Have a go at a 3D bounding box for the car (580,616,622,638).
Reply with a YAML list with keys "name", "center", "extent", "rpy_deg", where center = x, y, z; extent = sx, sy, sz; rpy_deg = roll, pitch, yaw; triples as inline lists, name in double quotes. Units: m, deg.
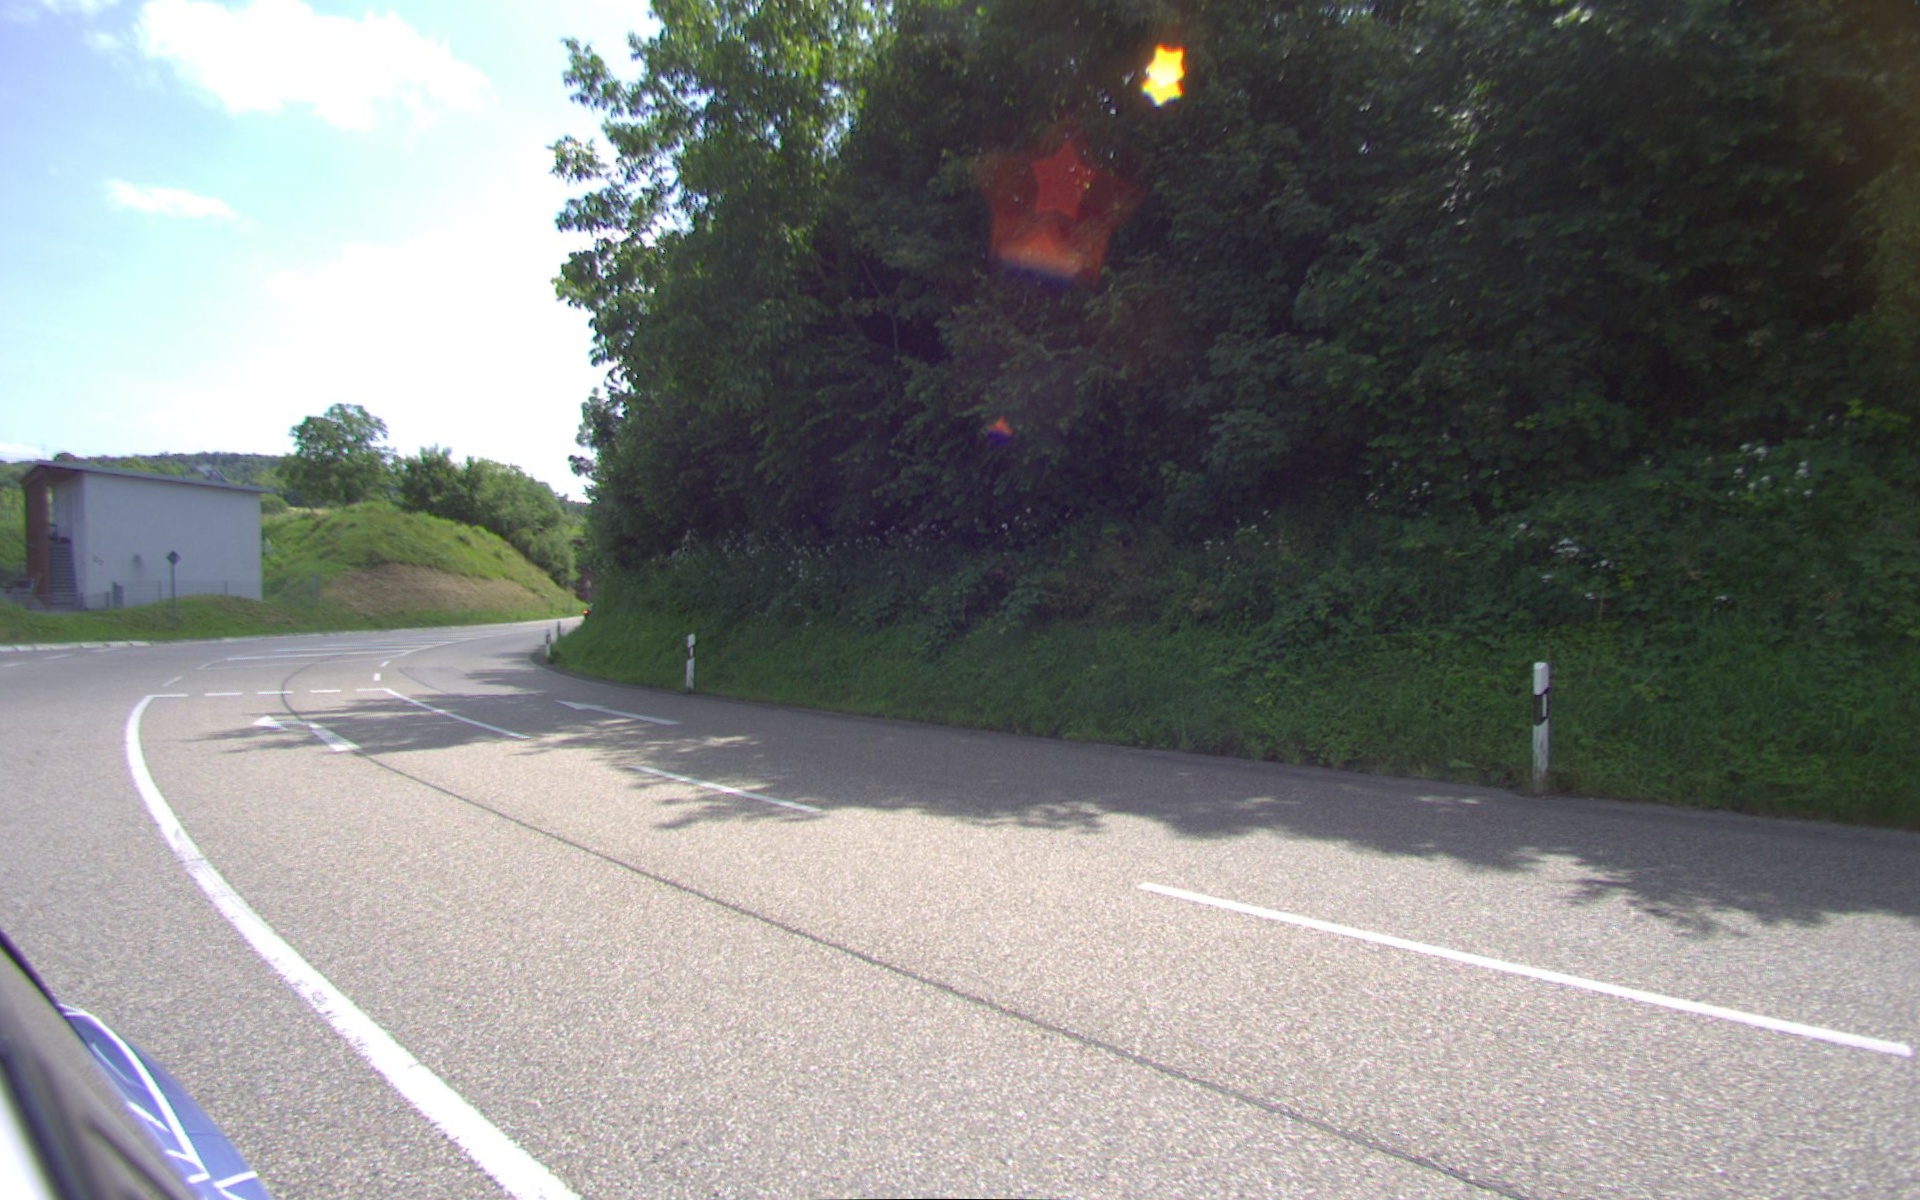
- name: "car"
  center: [-25.313, 1.902, 71.493]
  extent: [1.664, 1.430, 4.349]
  rpy_deg: [2, -2, -5]
